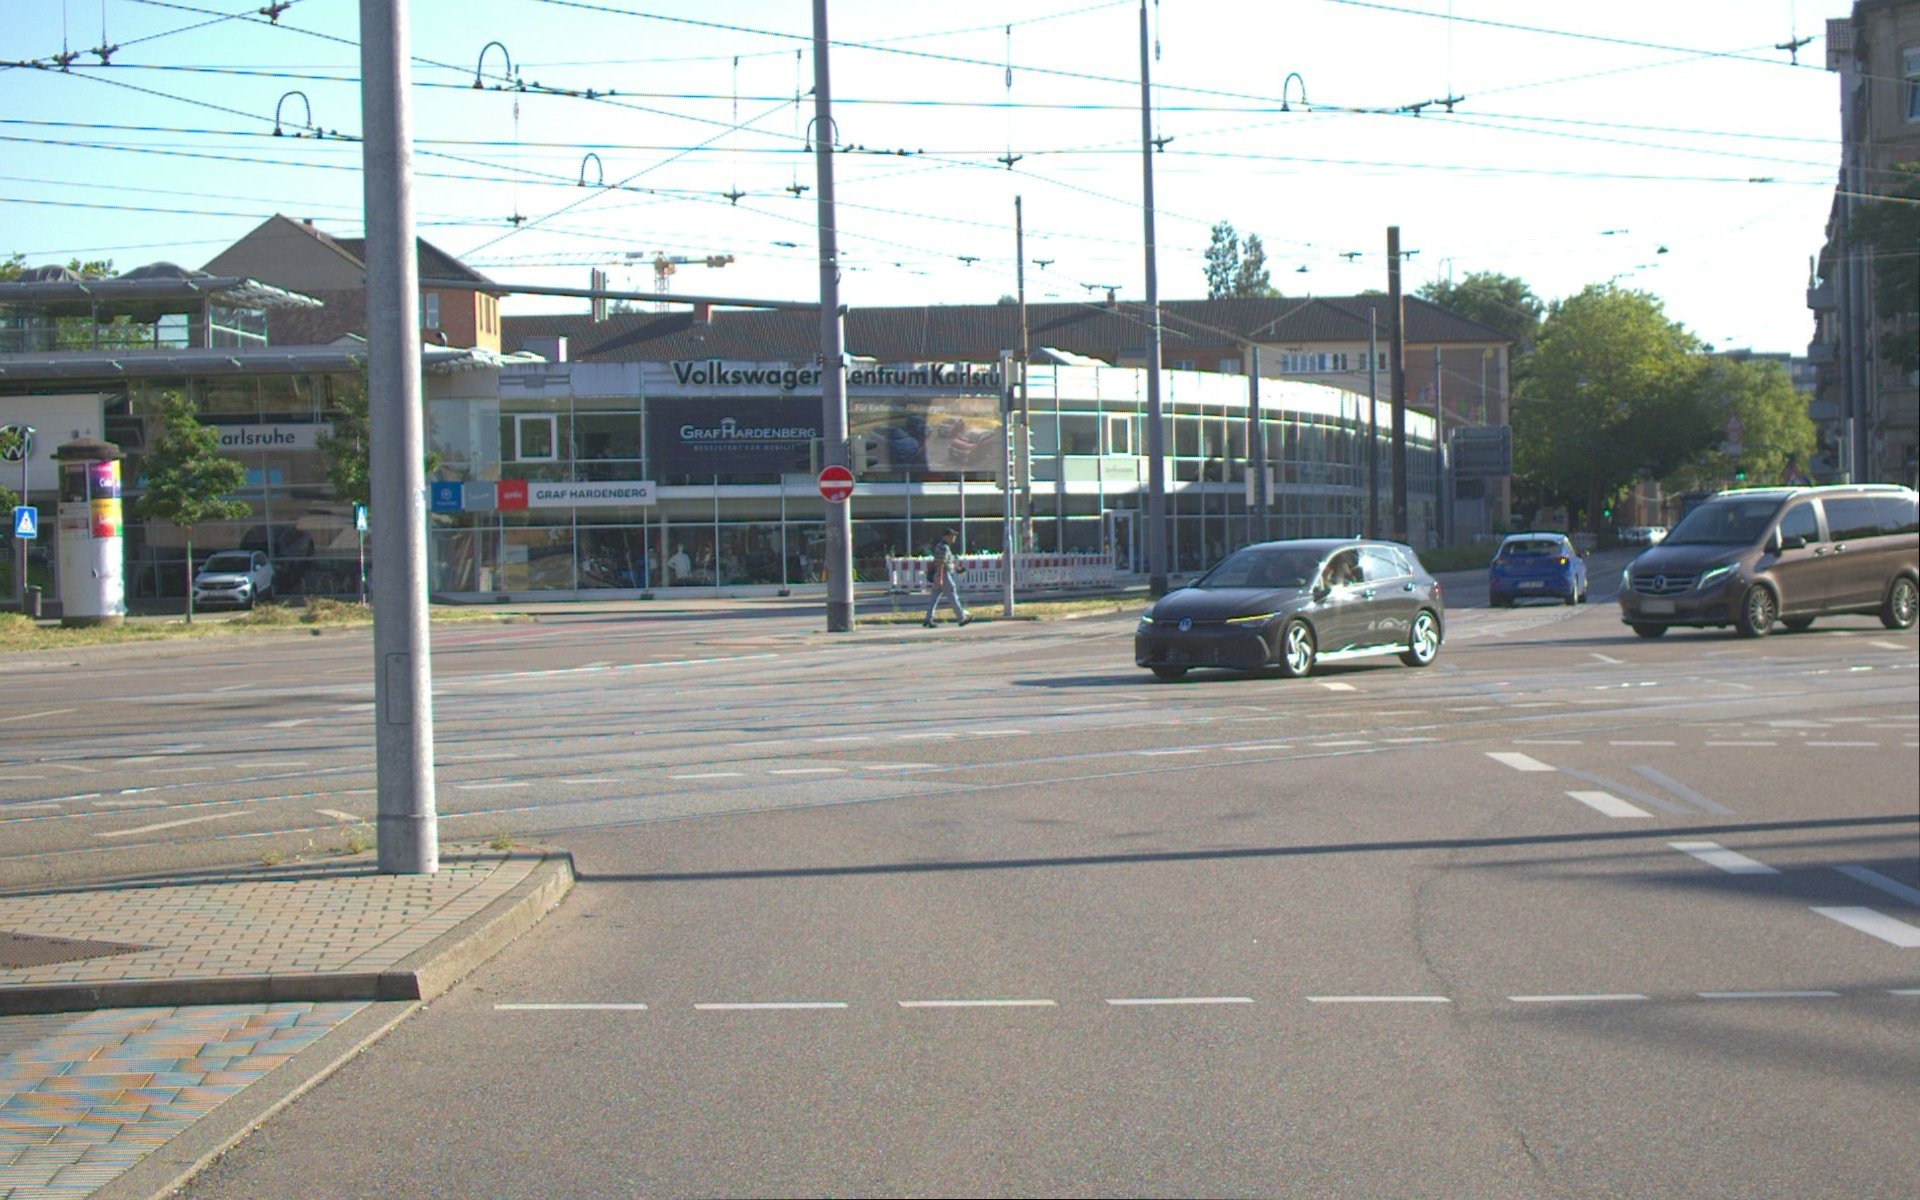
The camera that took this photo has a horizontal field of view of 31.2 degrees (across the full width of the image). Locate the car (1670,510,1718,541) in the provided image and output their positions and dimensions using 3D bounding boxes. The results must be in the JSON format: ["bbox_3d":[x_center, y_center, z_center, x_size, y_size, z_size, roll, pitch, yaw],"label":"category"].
[{"bbox_3d":[42.040,-4.272,196.999,1.801,1.650,3.918,0,3,-2],"label":"car"}]

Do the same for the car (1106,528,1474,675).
[{"bbox_3d":[3.647,-0.014,37.514,1.952,1.481,4.093,0,1,41],"label":"car"}]

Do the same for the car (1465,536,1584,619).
[{"bbox_3d":[11.411,-0.485,69.749,1.947,1.588,4.616,-1,1,4],"label":"car"}]

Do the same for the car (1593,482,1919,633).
[{"bbox_3d":[10.738,-0.587,45.592,4.836,1.887,1.953,-2,1,-40],"label":"car"}]

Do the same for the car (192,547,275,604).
[{"bbox_3d":[-21.265,-0.738,100.776,1.993,1.529,4.001,0,3,-6],"label":"car"}]

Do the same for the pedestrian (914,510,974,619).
[{"bbox_3d":[-0.274,-0.602,58.157,0.989,1.810,0.920,0,2,-2],"label":"pedestrian"}]
